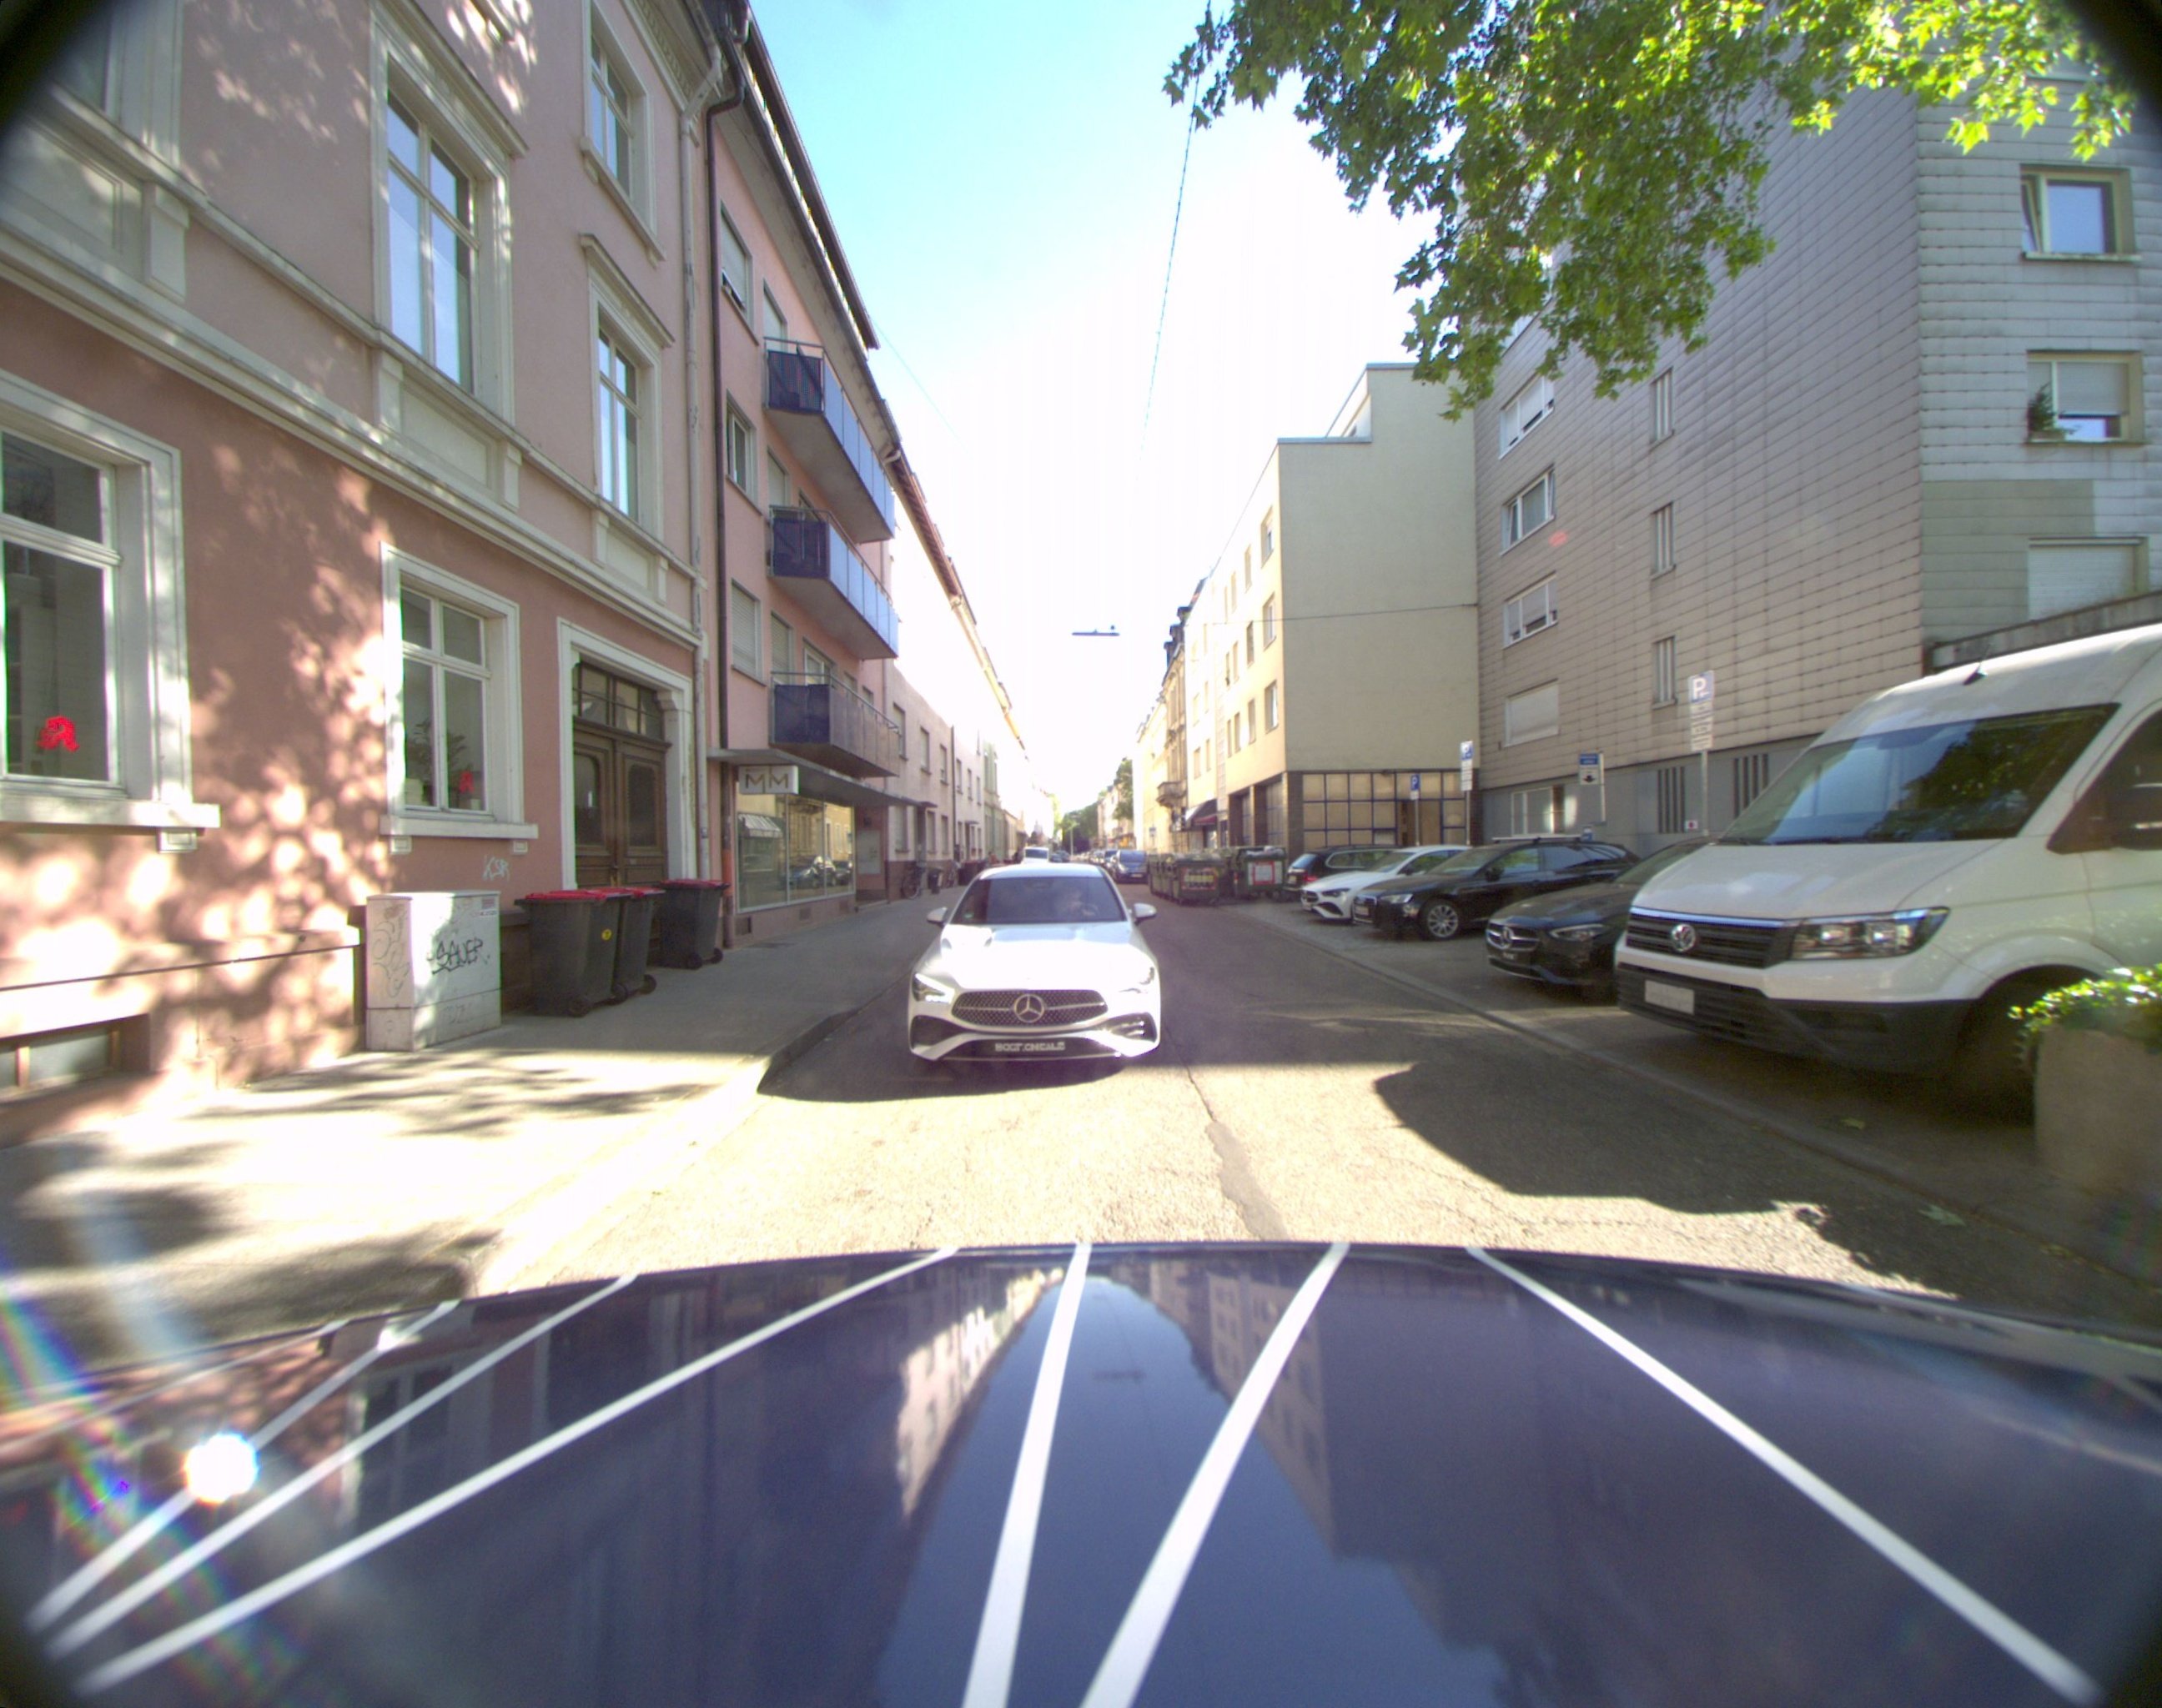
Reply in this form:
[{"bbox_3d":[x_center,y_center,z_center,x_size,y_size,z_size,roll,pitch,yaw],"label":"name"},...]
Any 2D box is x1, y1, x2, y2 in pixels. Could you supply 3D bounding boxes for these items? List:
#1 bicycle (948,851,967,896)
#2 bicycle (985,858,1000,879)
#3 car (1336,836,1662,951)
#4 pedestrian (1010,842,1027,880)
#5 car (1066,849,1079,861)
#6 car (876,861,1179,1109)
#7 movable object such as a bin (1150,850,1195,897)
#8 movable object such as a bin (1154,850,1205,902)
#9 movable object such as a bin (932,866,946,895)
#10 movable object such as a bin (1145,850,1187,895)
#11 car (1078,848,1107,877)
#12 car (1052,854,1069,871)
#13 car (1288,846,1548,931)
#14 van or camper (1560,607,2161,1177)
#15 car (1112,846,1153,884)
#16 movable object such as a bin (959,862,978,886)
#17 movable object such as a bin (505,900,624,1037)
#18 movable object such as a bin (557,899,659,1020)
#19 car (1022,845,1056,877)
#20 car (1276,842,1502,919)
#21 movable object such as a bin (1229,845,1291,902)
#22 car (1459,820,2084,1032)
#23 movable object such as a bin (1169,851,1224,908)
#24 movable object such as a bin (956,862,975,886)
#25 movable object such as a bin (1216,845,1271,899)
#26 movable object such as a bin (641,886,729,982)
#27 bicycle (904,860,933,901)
[{"bbox_3d":[-4.984,0.767,30.738,0.402,1.725,2.107,-1,1,1],"label":"bicycle"},{"bbox_3d":[-4.758,0.771,40.916,0.490,1.089,1.932,-1,0,1],"label":"bicycle"},{"bbox_3d":[6.623,0.581,12.264,4.417,1.607,1.698,-1,1,-6],"label":"car"},{"bbox_3d":[-3.278,0.362,39.687,0.761,2.002,0.771,-1,1,1],"label":"pedestrian"},{"bbox_3d":[-1.211,0.160,110.563,1.765,1.698,4.327,-1,0,0],"label":"car"},{"bbox_3d":[-0.308,0.845,7.034,1.862,1.448,4.562,-1,0,1],"label":"car"},{"bbox_3d":[3.029,0.632,25.237,1.222,1.492,1.560,-1,1,-2],"label":"movable object such as a bin"},{"bbox_3d":[3.002,0.649,23.443,1.247,1.492,1.925,-1,1,-2],"label":"movable object such as a bin"},{"bbox_3d":[-4.782,0.894,25.586,0.416,0.935,0.302,2,1,-2],"label":"movable object such as a bin"},{"bbox_3d":[2.981,0.629,26.822,1.222,1.492,1.560,-1,1,-2],"label":"movable object such as a bin"},{"bbox_3d":[0.732,0.512,48.354,1.765,1.698,4.327,-1,0,1],"label":"car"},{"bbox_3d":[-2.321,0.929,84.905,1.765,1.698,4.327,-1,0,0],"label":"car"},{"bbox_3d":[6.486,0.631,14.828,4.417,1.454,1.599,-1,0,-6],"label":"car"},{"bbox_3d":[7.033,-0.015,4.531,6.922,2.559,2.000,-4,0,1],"label":"van or camper"},{"bbox_3d":[2.470,0.487,37.308,1.765,1.698,4.327,-1,0,1],"label":"car"},{"bbox_3d":[-4.891,0.857,33.103,0.717,0.996,0.546,2,1,-2],"label":"movable object such as a bin"},{"bbox_3d":[-4.447,0.967,6.585,0.570,1.078,0.654,2,1,-2],"label":"movable object such as a bin"},{"bbox_3d":[-4.472,0.979,7.215,0.570,1.052,0.612,2,1,-2],"label":"movable object such as a bin"},{"bbox_3d":[-2.548,0.383,46.669,1.765,1.843,4.327,-1,0,1],"label":"car"},{"bbox_3d":[6.819,0.552,17.043,4.417,1.524,1.698,-1,0,-6],"label":"car"},{"bbox_3d":[4.820,0.510,20.555,1.328,1.492,1.195,-1,1,-2],"label":"movable object such as a bin"},{"bbox_3d":[6.268,0.602,7.256,4.415,1.524,1.698,-3,1,-1],"label":"car"},{"bbox_3d":[3.163,0.682,21.096,1.241,1.492,1.877,1,1,0],"label":"movable object such as a bin"},{"bbox_3d":[-4.921,0.841,32.511,0.717,0.996,0.546,2,1,-2],"label":"movable object such as a bin"},{"bbox_3d":[4.676,0.494,21.973,1.222,1.492,1.517,-1,1,-2],"label":"movable object such as a bin"},{"bbox_3d":[-4.743,0.943,9.136,0.718,1.078,0.618,2,1,-2],"label":"movable object such as a bin"},{"bbox_3d":[-4.897,0.782,22.988,0.402,1.144,2.025,-1,0,1],"label":"bicycle"}]
